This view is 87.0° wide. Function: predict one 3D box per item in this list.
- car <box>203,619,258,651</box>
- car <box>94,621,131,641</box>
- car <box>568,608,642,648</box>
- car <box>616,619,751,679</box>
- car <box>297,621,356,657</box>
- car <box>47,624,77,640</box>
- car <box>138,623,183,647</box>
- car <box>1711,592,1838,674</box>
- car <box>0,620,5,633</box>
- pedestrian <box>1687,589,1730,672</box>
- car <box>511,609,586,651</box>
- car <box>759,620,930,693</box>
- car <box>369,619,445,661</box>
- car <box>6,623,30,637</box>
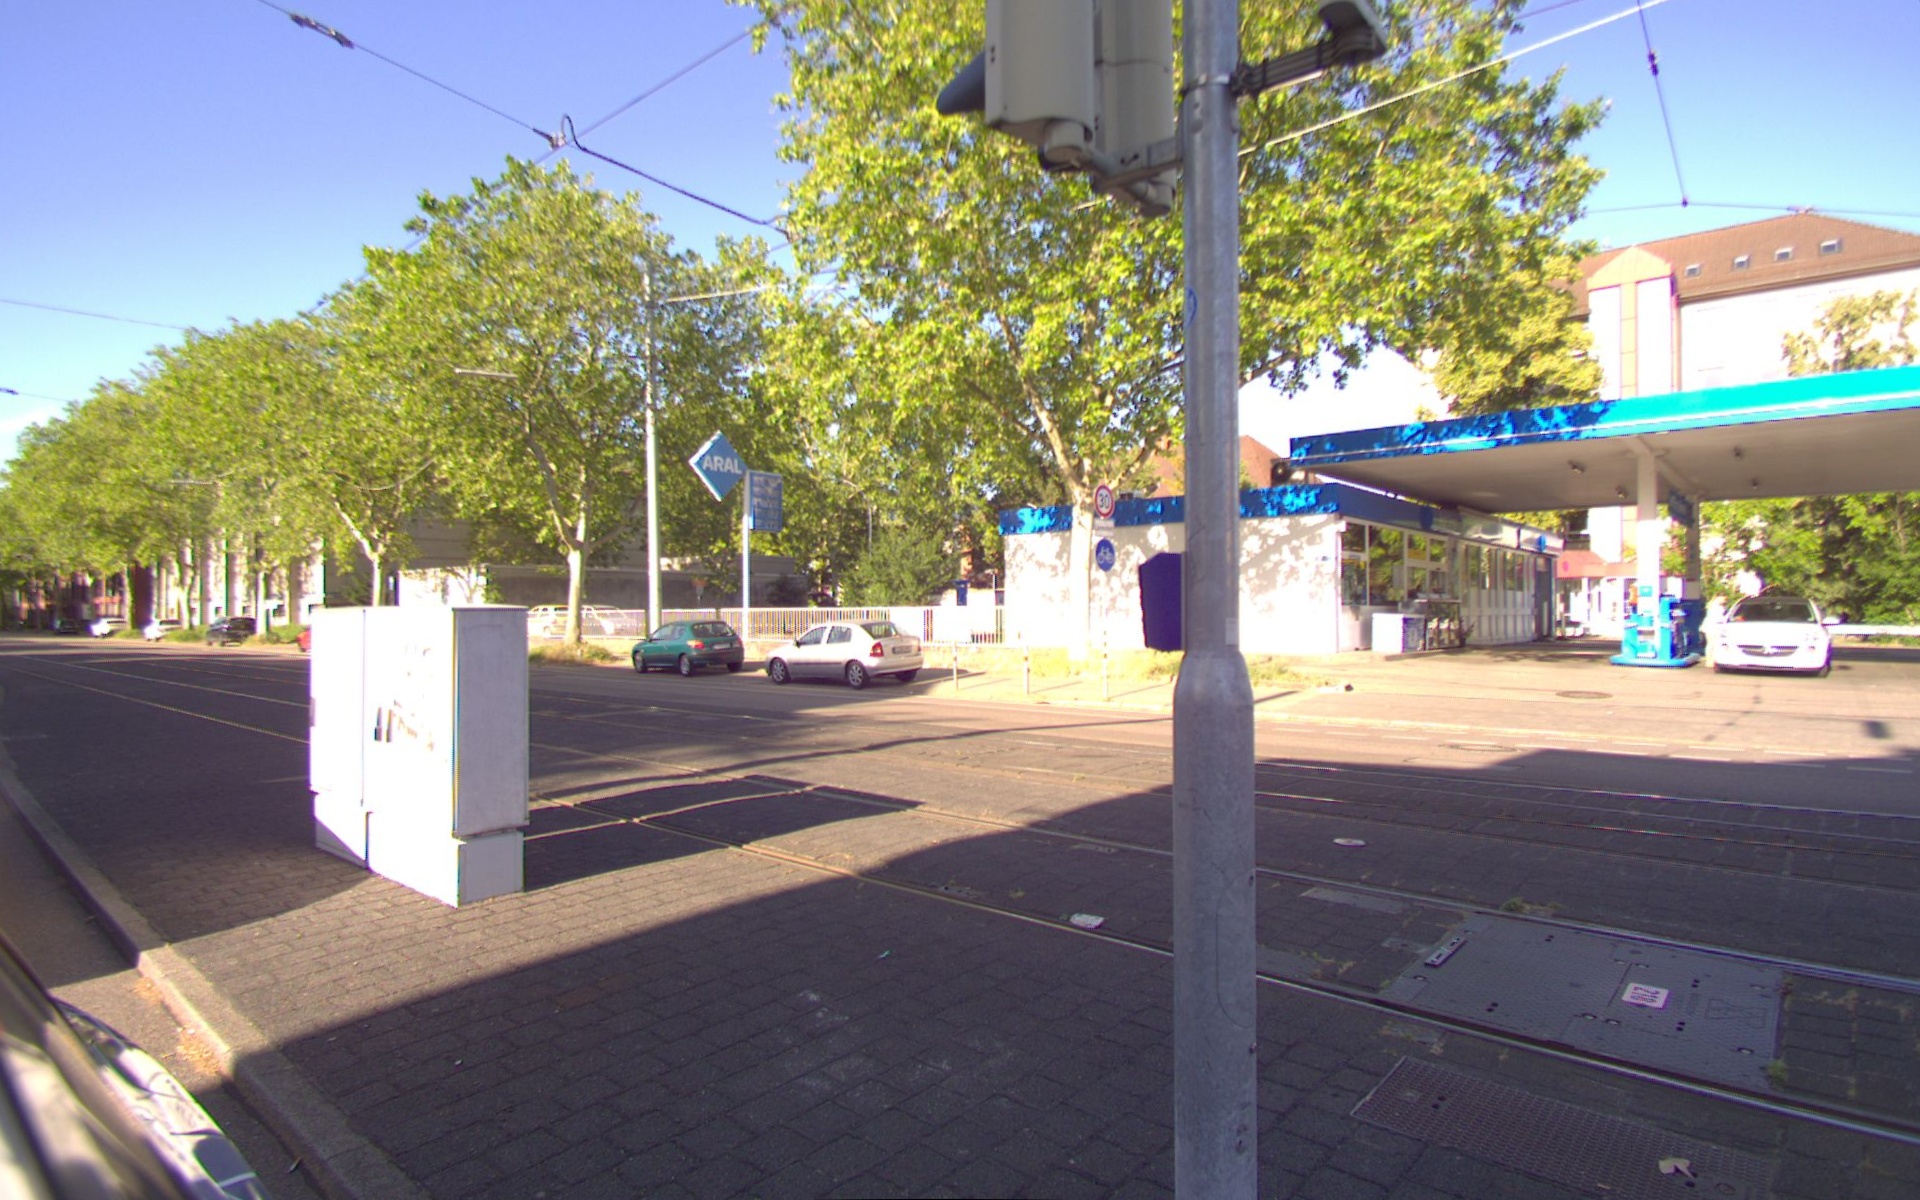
[{"bbox_3d":[-40.679,1.941,56.435,3.748,1.670,1.674,-1,1,41],"label":"car"},{"bbox_3d":[-66.683,2.447,79.586,3.748,1.459,1.674,-1,1,41],"label":"car"},{"bbox_3d":[-15.267,1.195,43.432,3.303,1.604,1.579,-1,0,41],"label":"car"},{"bbox_3d":[-7.401,1.266,26.956,3.748,1.413,1.674,-1,1,41],"label":"car"},{"bbox_3d":[-28.688,1.756,45.813,2.621,1.519,1.579,-1,1,41],"label":"car"},{"bbox_3d":[-85.245,3.031,96.022,3.748,1.459,1.674,-1,1,41],"label":"car"},{"bbox_3d":[-53.865,2.343,68.159,3.748,1.459,1.674,-1,1,41],"label":"car"},{"bbox_3d":[15.886,0.610,19.683,1.757,1.453,3.521,-1,-1,41],"label":"car"},{"bbox_3d":[-133.940,3.680,140.446,3.748,1.798,1.674,-1,1,41],"label":"car"},{"bbox_3d":[15.933,0.645,21.537,0.493,1.714,0.649,1,-2,-45],"label":"pedestrian"},{"bbox_3d":[-17.086,1.231,41.954,3.303,1.628,1.579,-1,0,41],"label":"car"},{"bbox_3d":[-2.636,1.205,22.628,3.812,1.413,1.674,-1,1,41],"label":"car"},{"bbox_3d":[-21.878,1.558,39.986,3.303,1.519,1.579,-1,1,41],"label":"car"},{"bbox_3d":[-112.147,3.565,120.480,3.748,1.459,1.674,-1,1,41],"label":"car"}]
